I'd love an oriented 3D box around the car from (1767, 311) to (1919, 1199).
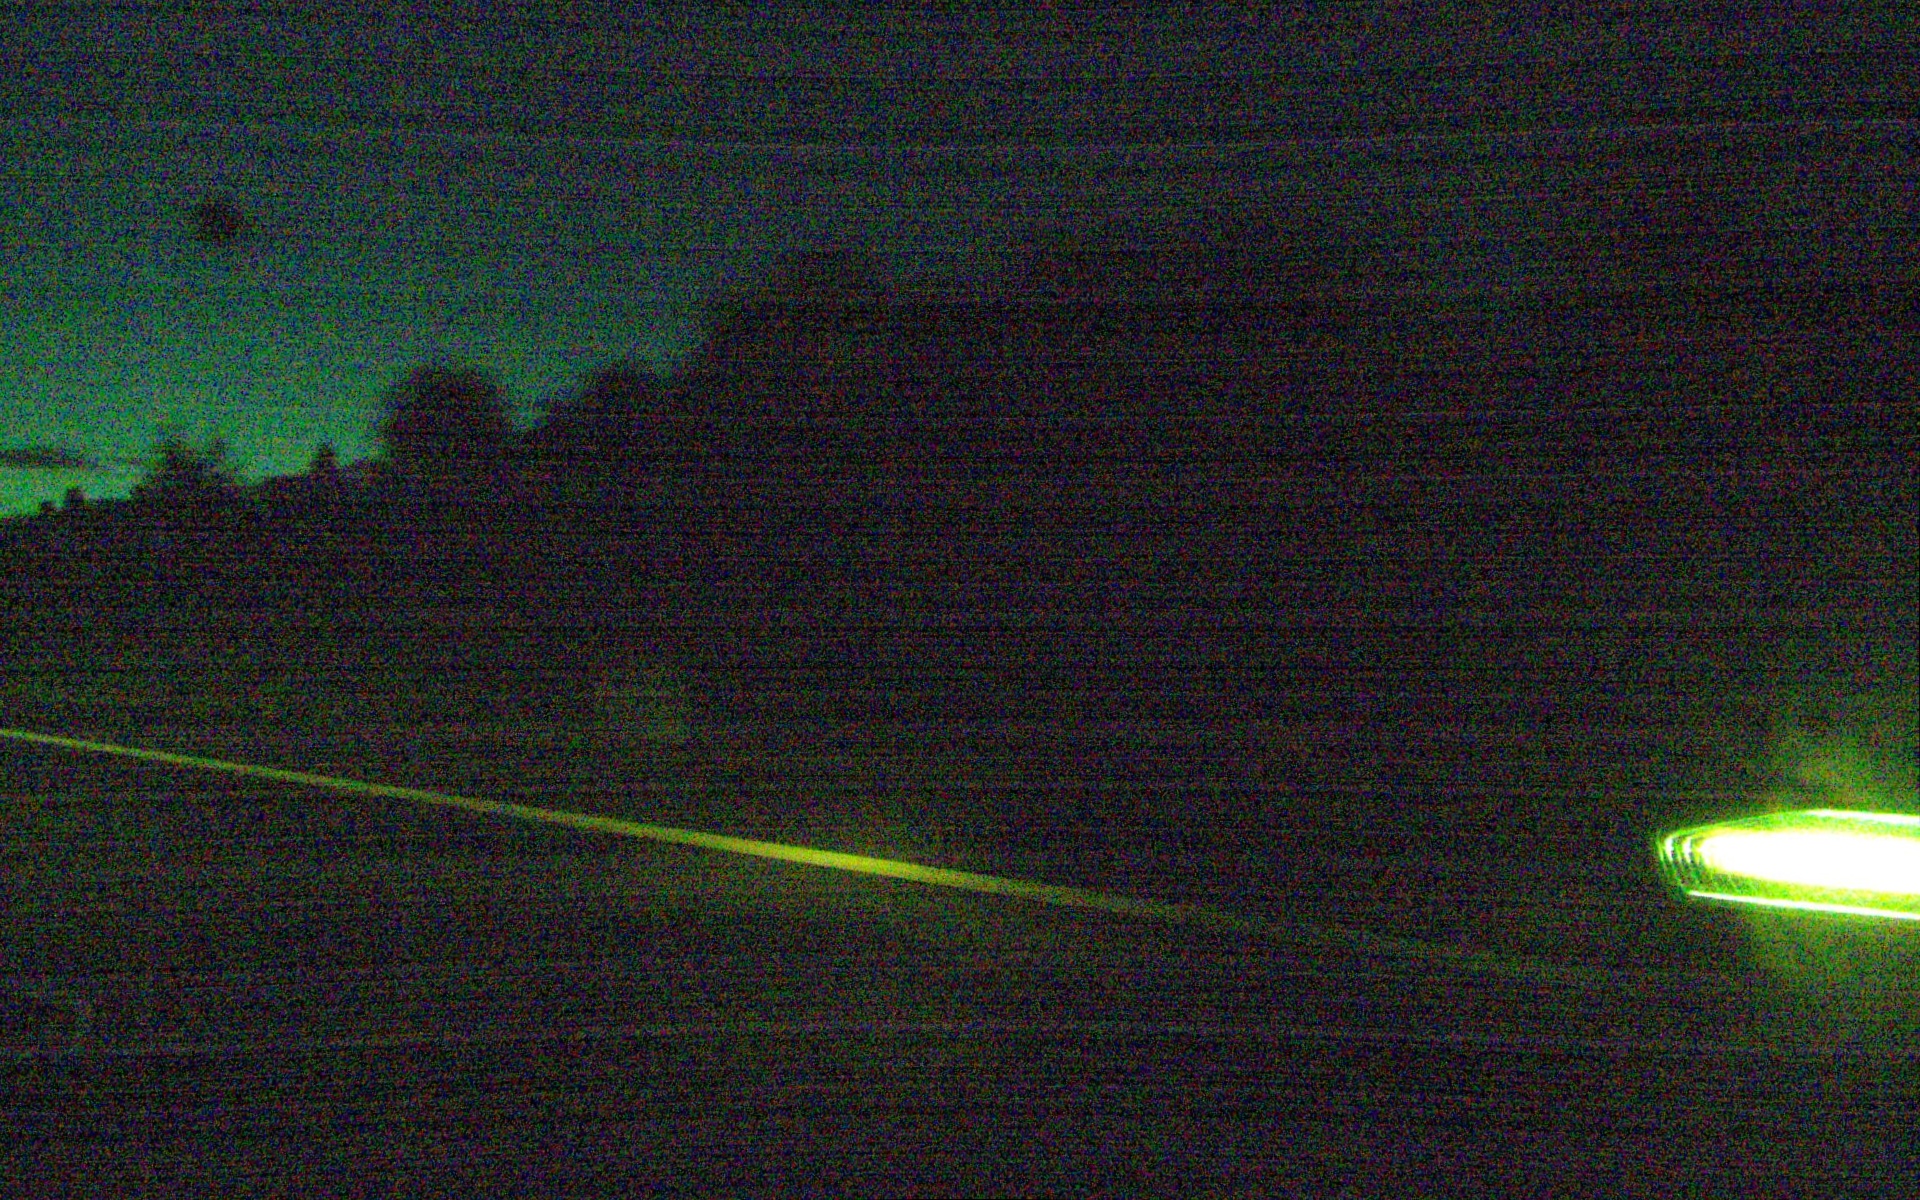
[{"bbox_3d":[4.646,0.436,1.133,5.585,2.026,2.111,-1,-1,34],"label":"car"}]
